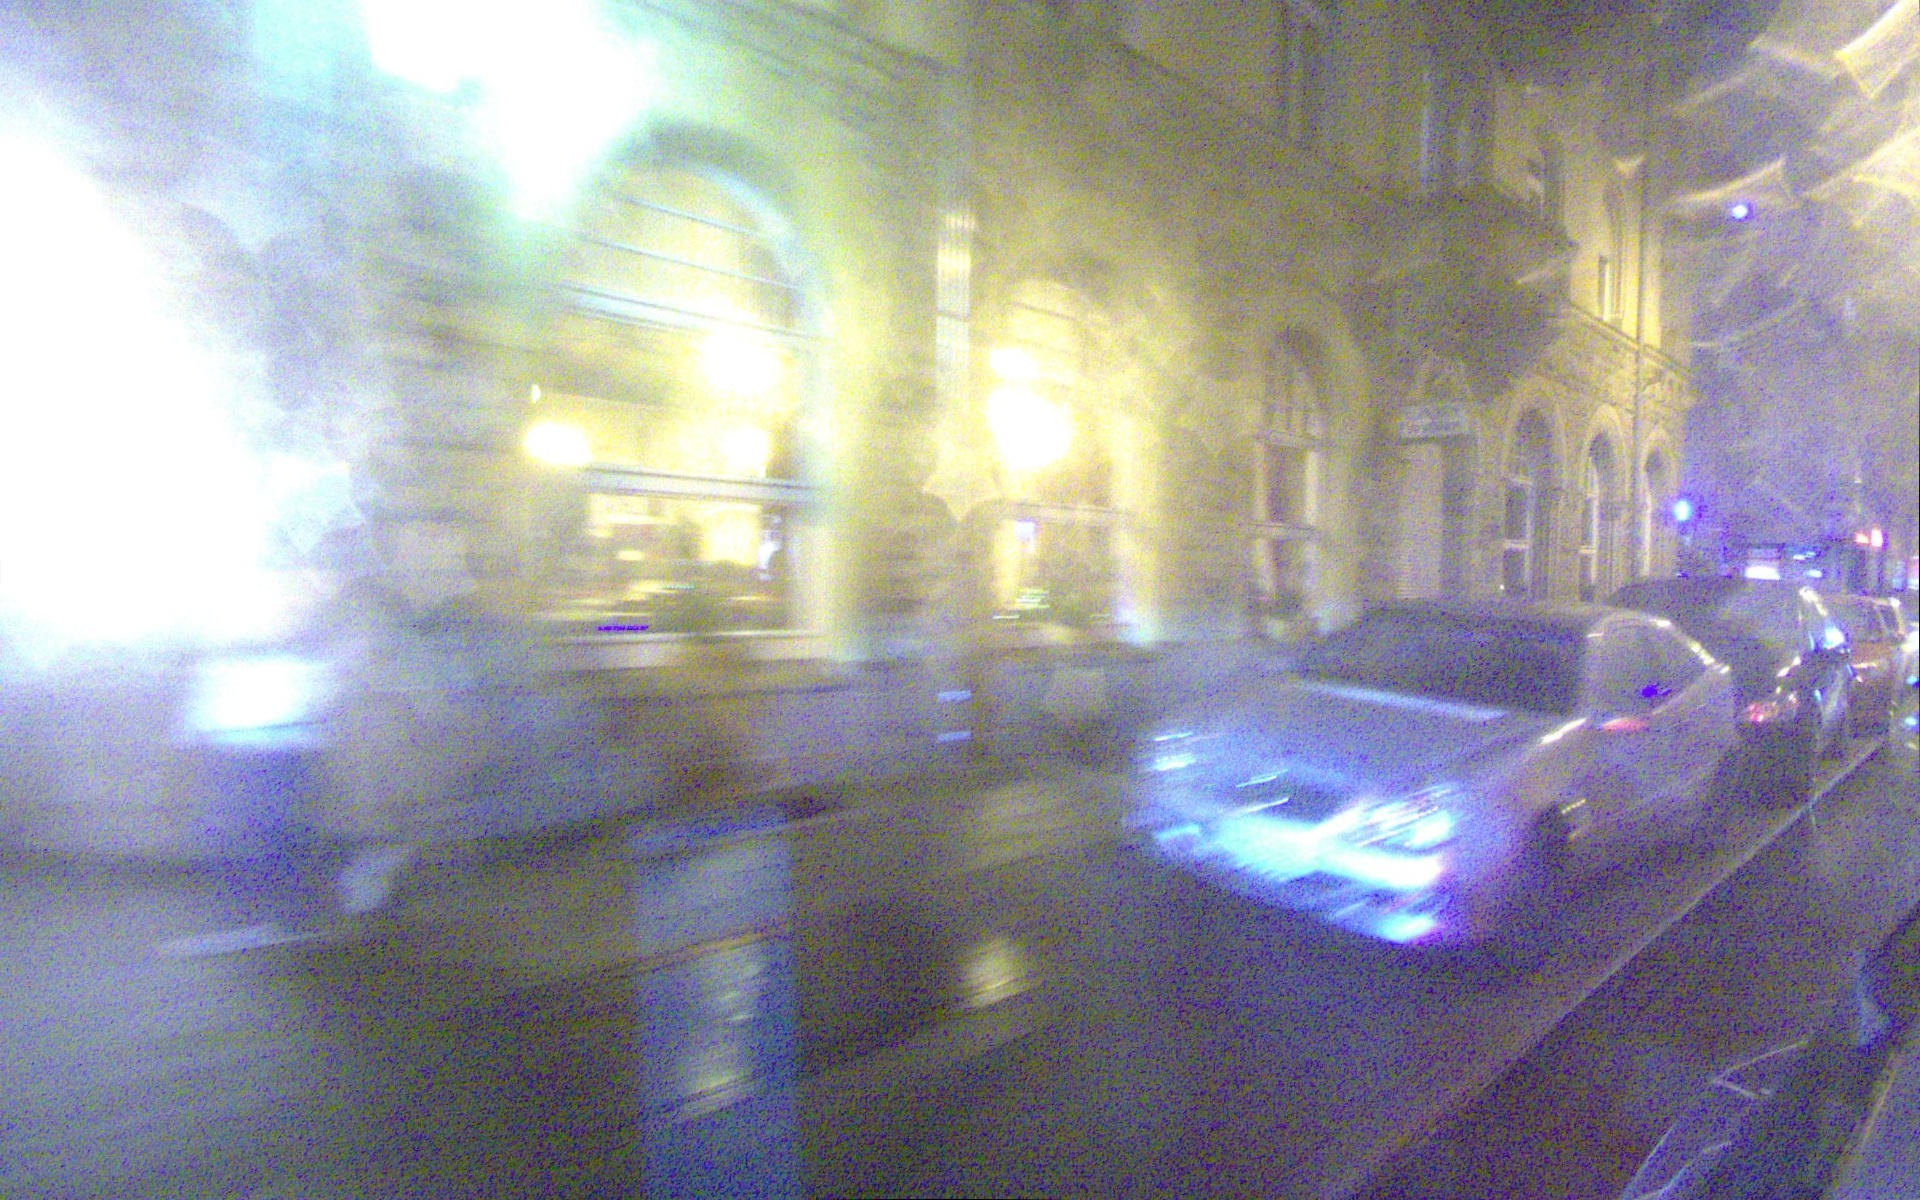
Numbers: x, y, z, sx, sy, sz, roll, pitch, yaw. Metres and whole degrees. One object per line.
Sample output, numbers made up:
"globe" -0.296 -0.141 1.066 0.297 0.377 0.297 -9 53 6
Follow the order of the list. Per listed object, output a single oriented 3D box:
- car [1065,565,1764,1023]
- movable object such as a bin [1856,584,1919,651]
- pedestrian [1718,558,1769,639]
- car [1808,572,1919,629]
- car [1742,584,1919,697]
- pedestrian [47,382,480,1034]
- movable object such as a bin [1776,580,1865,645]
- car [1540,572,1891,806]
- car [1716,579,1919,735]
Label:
"car" 2.572 0.574 5.252 3.933 1.429 1.920 -1 2 -43
"movable object such as a bin" 21.350 0.384 22.770 1.321 1.447 1.197 1 1 12
"pedestrian" 18.020 -0.040 23.288 0.613 1.810 0.705 1 2 -38
"car" 29.744 0.079 31.764 1.750 1.548 4.522 0 6 -42
"car" 13.900 0.511 15.737 4.341 1.482 1.997 -1 2 -42
"pedestrian" -2.353 0.286 3.469 1.063 1.810 0.865 1 2 -39
"movable object such as a bin" 19.996 0.270 23.535 1.029 1.447 1.314 0 2 -32
"car" 6.526 0.553 8.590 3.825 1.517 1.692 -1 2 -43
"car" 10.367 0.537 12.054 1.690 1.517 3.829 3 2 44
